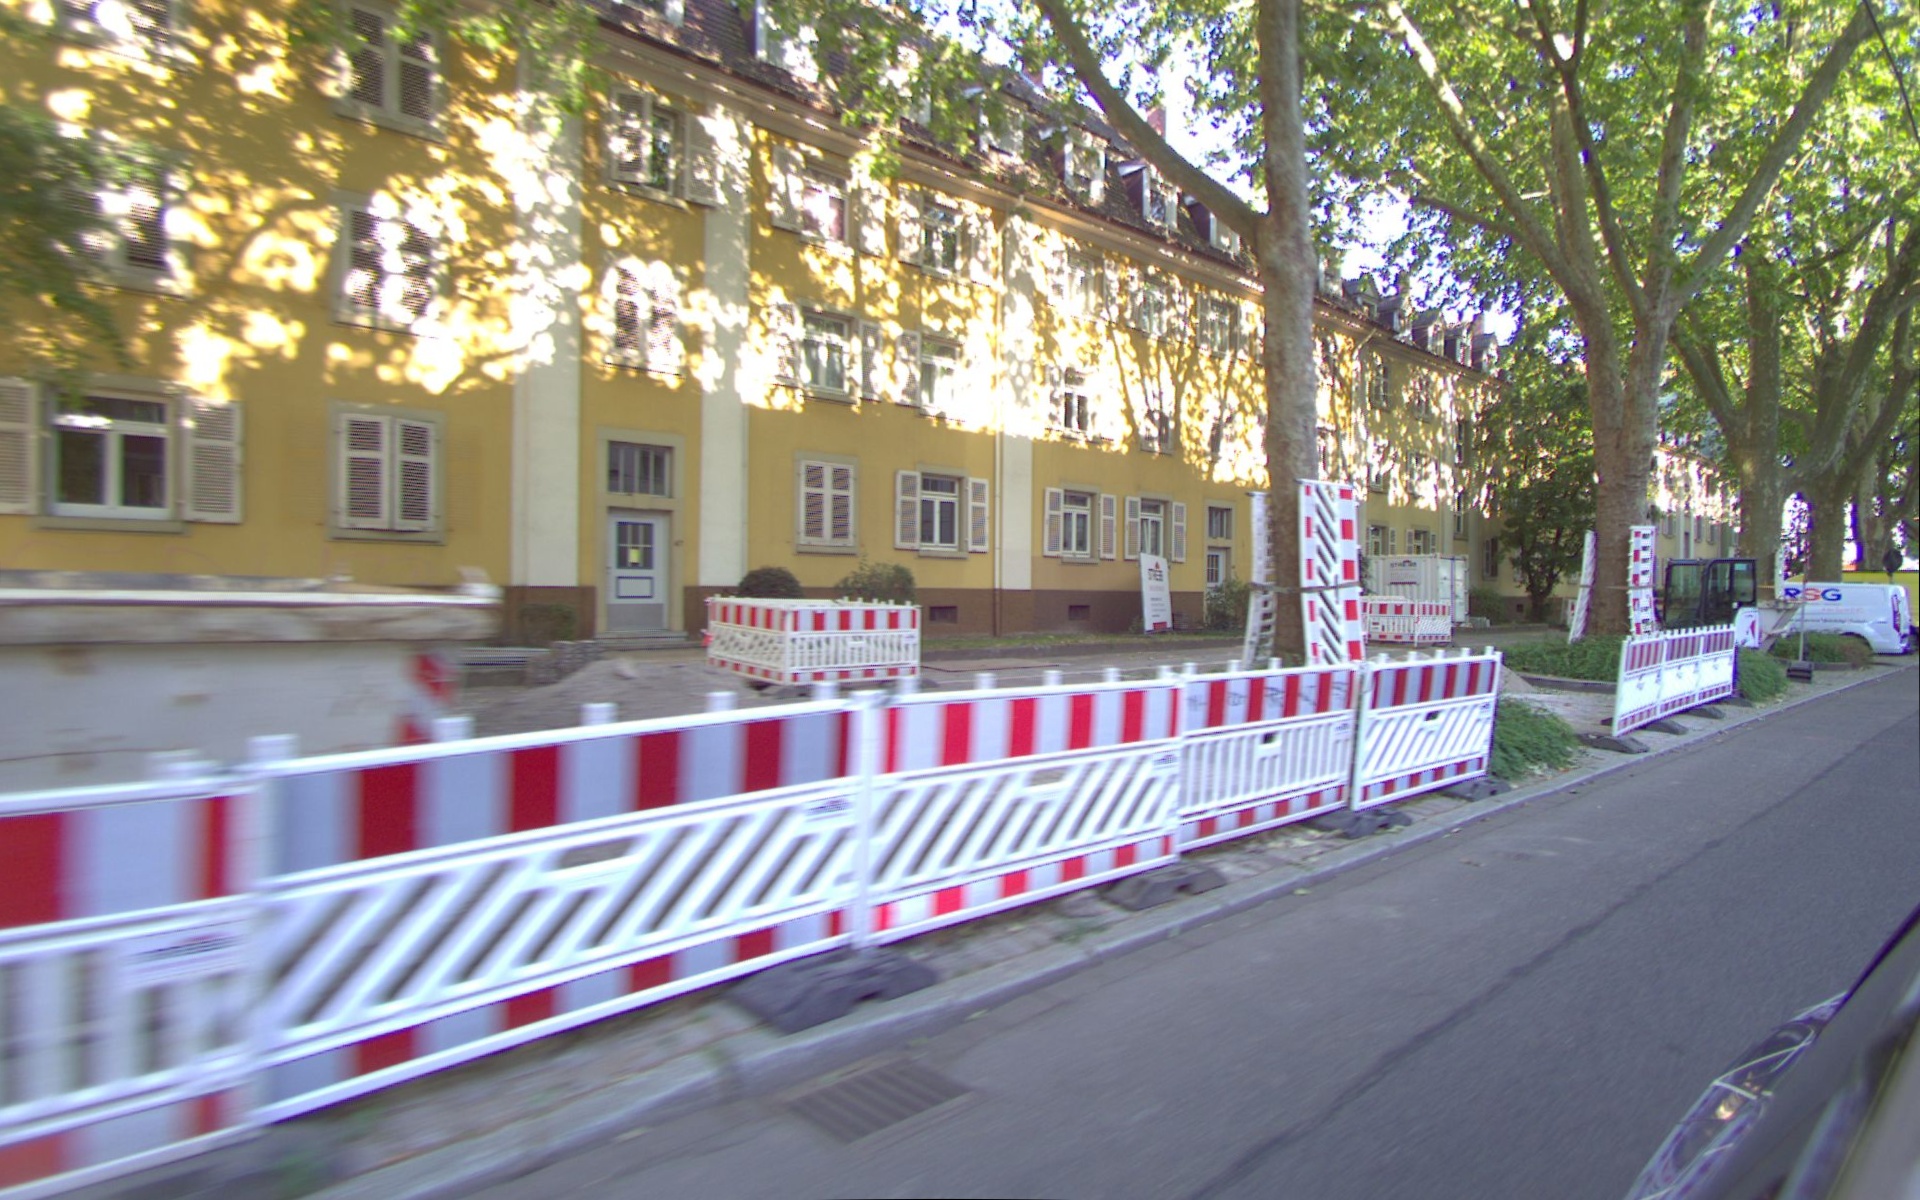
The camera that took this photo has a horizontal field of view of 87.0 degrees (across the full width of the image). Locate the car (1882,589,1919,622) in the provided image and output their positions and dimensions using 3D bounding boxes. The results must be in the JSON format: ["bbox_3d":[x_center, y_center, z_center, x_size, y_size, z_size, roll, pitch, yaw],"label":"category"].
[{"bbox_3d":[51.147,0.323,52.716,1.876,1.678,4.432,0,2,-42],"label":"car"}]

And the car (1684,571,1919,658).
[{"bbox_3d":[21.880,0.288,26.129,2.027,2.038,4.843,0,1,-41],"label":"car"}]

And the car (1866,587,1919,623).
[{"bbox_3d":[49.194,0.274,51.476,1.806,1.753,4.322,1,2,-37],"label":"car"}]

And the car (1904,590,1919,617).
[{"bbox_3d":[58.001,0.279,58.814,1.785,1.542,4.409,1,1,-40],"label":"car"}]

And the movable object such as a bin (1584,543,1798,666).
[{"bbox_3d":[14.204,0.081,19.738,3.210,2.297,1.489,0,0,-7],"label":"movable object such as a bin"}]

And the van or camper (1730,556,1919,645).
[{"bbox_3d":[28.750,-0.048,32.591,2.229,2.662,5.940,-1,2,-38],"label":"van or camper"}]

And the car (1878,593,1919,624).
[{"bbox_3d":[47.149,0.463,49.084,1.832,1.441,3.661,1,3,-40],"label":"car"}]

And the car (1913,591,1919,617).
[{"bbox_3d":[56.173,0.284,56.762,1.713,1.516,3.885,0,2,-44],"label":"car"}]

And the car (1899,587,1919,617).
[{"bbox_3d":[61.535,0.201,62.376,1.881,1.878,5.123,-1,3,-41],"label":"car"}]
